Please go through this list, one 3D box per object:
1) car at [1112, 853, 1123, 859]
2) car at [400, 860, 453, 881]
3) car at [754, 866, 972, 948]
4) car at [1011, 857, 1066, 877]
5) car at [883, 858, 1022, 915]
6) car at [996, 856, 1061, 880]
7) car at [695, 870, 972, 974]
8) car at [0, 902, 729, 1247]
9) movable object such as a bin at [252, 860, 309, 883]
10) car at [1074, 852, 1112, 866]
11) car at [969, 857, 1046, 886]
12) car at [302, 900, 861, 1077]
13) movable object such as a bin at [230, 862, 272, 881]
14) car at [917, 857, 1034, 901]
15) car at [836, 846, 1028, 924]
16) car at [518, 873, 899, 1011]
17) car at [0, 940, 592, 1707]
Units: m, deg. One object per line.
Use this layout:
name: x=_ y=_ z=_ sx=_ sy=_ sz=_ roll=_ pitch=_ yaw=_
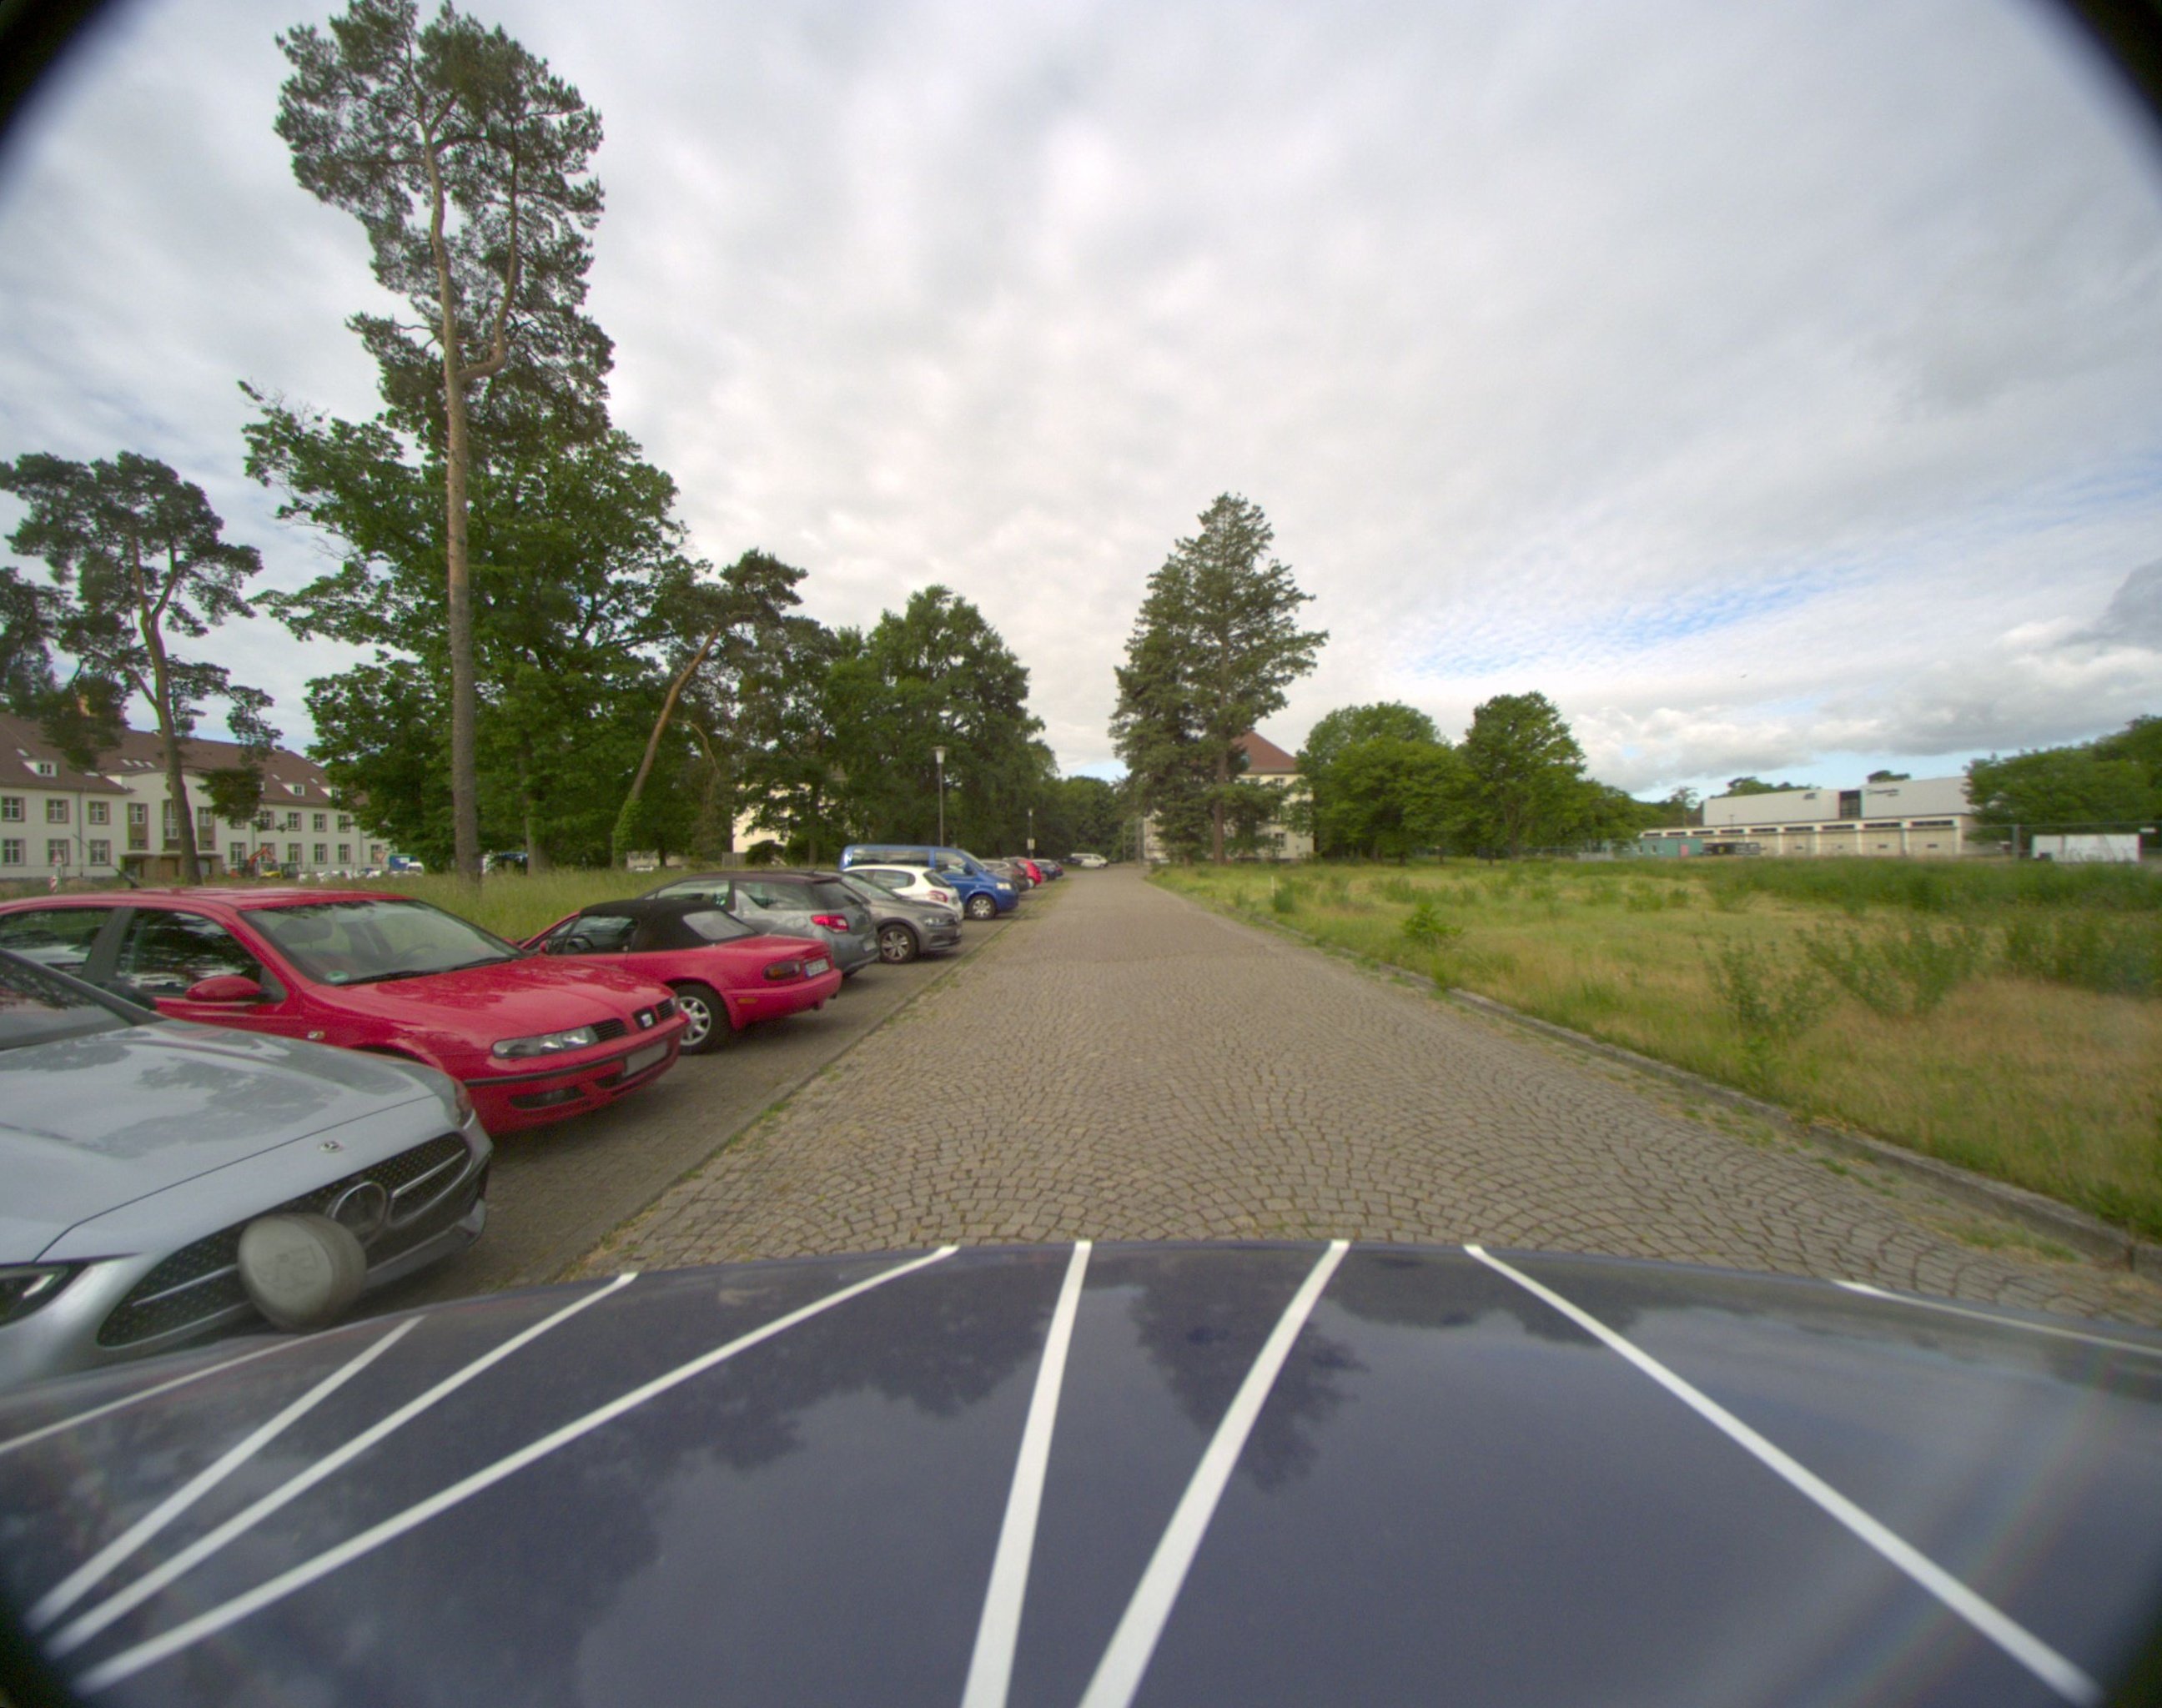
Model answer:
car: x=8.140 y=0.490 z=170.239 sx=1.870 sy=1.408 sz=4.695 roll=1 pitch=0 yaw=-3
car: x=-66.658 y=1.631 z=77.446 sx=1.999 sy=2.002 sz=3.999 roll=-1 pitch=0 yaw=-3
car: x=-4.287 y=1.014 z=15.344 sx=3.871 sy=1.463 sz=1.758 roll=1 pitch=0 yaw=2
car: x=-3.003 y=0.918 z=54.652 sx=3.877 sy=1.417 sz=1.582 roll=0 pitch=0 yaw=0
car: x=-3.840 y=0.965 z=23.208 sx=3.872 sy=1.463 sz=1.841 roll=3 pitch=0 yaw=0
car: x=-3.448 y=0.894 z=49.999 sx=4.150 sy=1.529 sz=1.582 roll=0 pitch=0 yaw=0
car: x=-3.856 y=1.039 z=12.309 sx=3.872 sy=1.463 sz=1.758 roll=1 pitch=0 yaw=1
car: x=-4.646 y=1.079 z=4.462 sx=4.272 sy=1.408 sz=1.871 roll=1 pitch=0 yaw=1
movable object such as a bin: x=-74.881 y=1.633 z=71.099 sx=1.679 sy=2.002 sz=3.245 roll=-1 pitch=0 yaw=9
car: x=1.656 y=0.615 z=103.382 sx=5.140 sy=1.860 sz=1.723 roll=0 pitch=0 yaw=0
car: x=-3.806 y=0.912 z=39.761 sx=3.894 sy=1.451 sz=1.582 roll=0 pitch=0 yaw=0
car: x=-4.186 y=1.114 z=6.859 sx=3.872 sy=1.229 sz=1.758 roll=1 pitch=0 yaw=0
movable object such as a bin: x=-88.430 y=1.868 z=81.003 sx=2.981 sy=2.002 sz=1.556 roll=-1 pitch=0 yaw=8
car: x=-4.019 y=0.948 z=29.486 sx=4.271 sy=1.589 sz=1.822 roll=0 pitch=0 yaw=0
car: x=-3.921 y=0.800 z=20.645 sx=4.820 sy=1.934 sz=2.003 roll=1 pitch=0 yaw=0
car: x=-4.435 y=1.026 z=9.494 sx=3.872 sy=1.463 sz=1.758 roll=1 pitch=0 yaw=0
car: x=-4.307 y=1.071 z=2.274 sx=4.434 sy=1.408 sz=1.870 roll=1 pitch=0 yaw=-2
